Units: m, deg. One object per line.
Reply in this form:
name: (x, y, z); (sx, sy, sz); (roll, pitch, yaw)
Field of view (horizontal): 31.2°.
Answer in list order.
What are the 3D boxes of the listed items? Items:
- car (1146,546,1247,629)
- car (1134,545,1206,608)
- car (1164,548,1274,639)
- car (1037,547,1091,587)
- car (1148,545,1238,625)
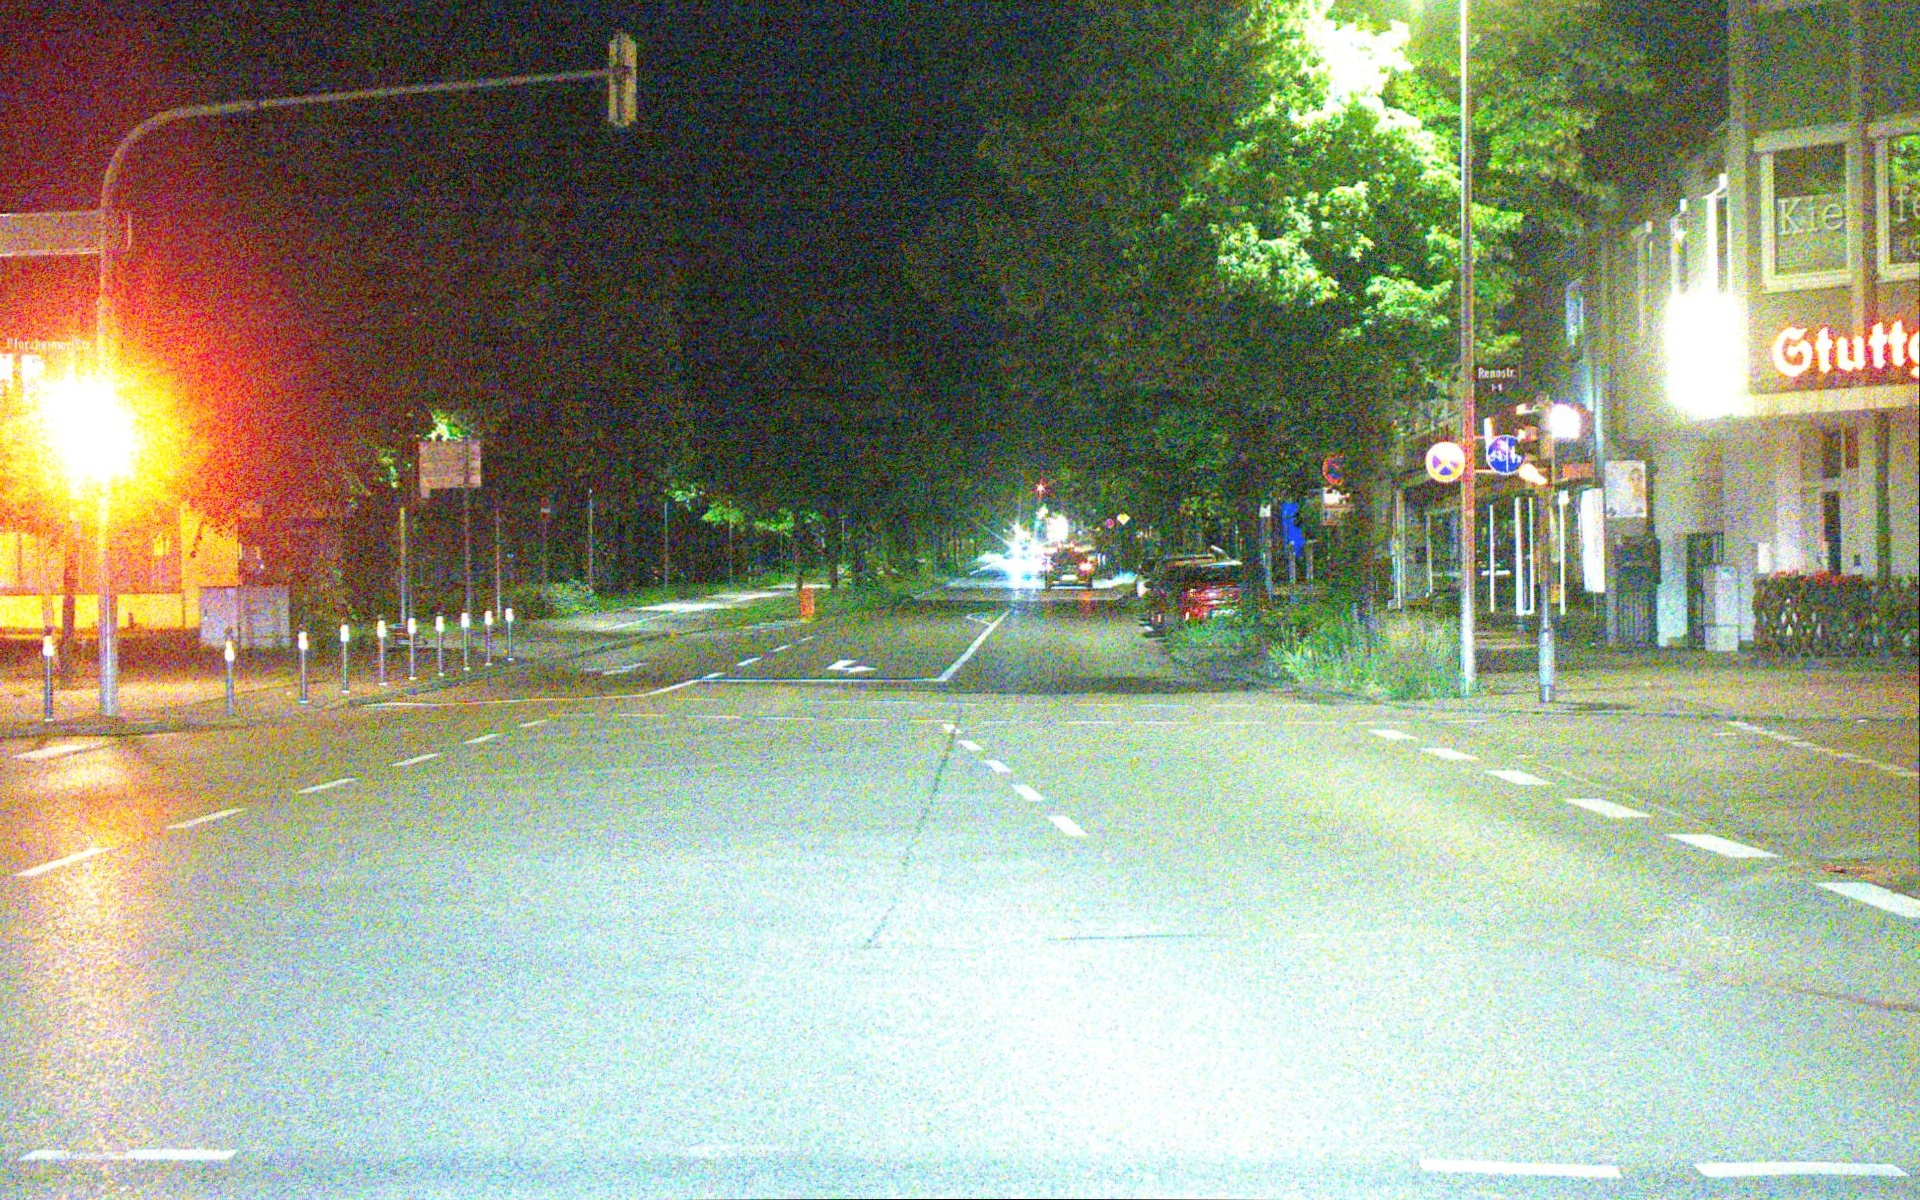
car: (4.703, -0.262, 68.798); (1.876, 1.610, 4.000); (0, 1, 2)
car: (5.746, -0.652, 94.483); (1.876, 1.678, 4.000); (0, 1, 2)
car: (4.771, -0.138, 63.670); (1.876, 1.610, 4.000); (0, 1, 2)
car: (3.873, -1.229, 128.798); (1.873, 1.449, 4.316); (1, 1, 0)
car: (5.162, -0.342, 76.469); (1.876, 1.723, 4.000); (0, 1, 2)
